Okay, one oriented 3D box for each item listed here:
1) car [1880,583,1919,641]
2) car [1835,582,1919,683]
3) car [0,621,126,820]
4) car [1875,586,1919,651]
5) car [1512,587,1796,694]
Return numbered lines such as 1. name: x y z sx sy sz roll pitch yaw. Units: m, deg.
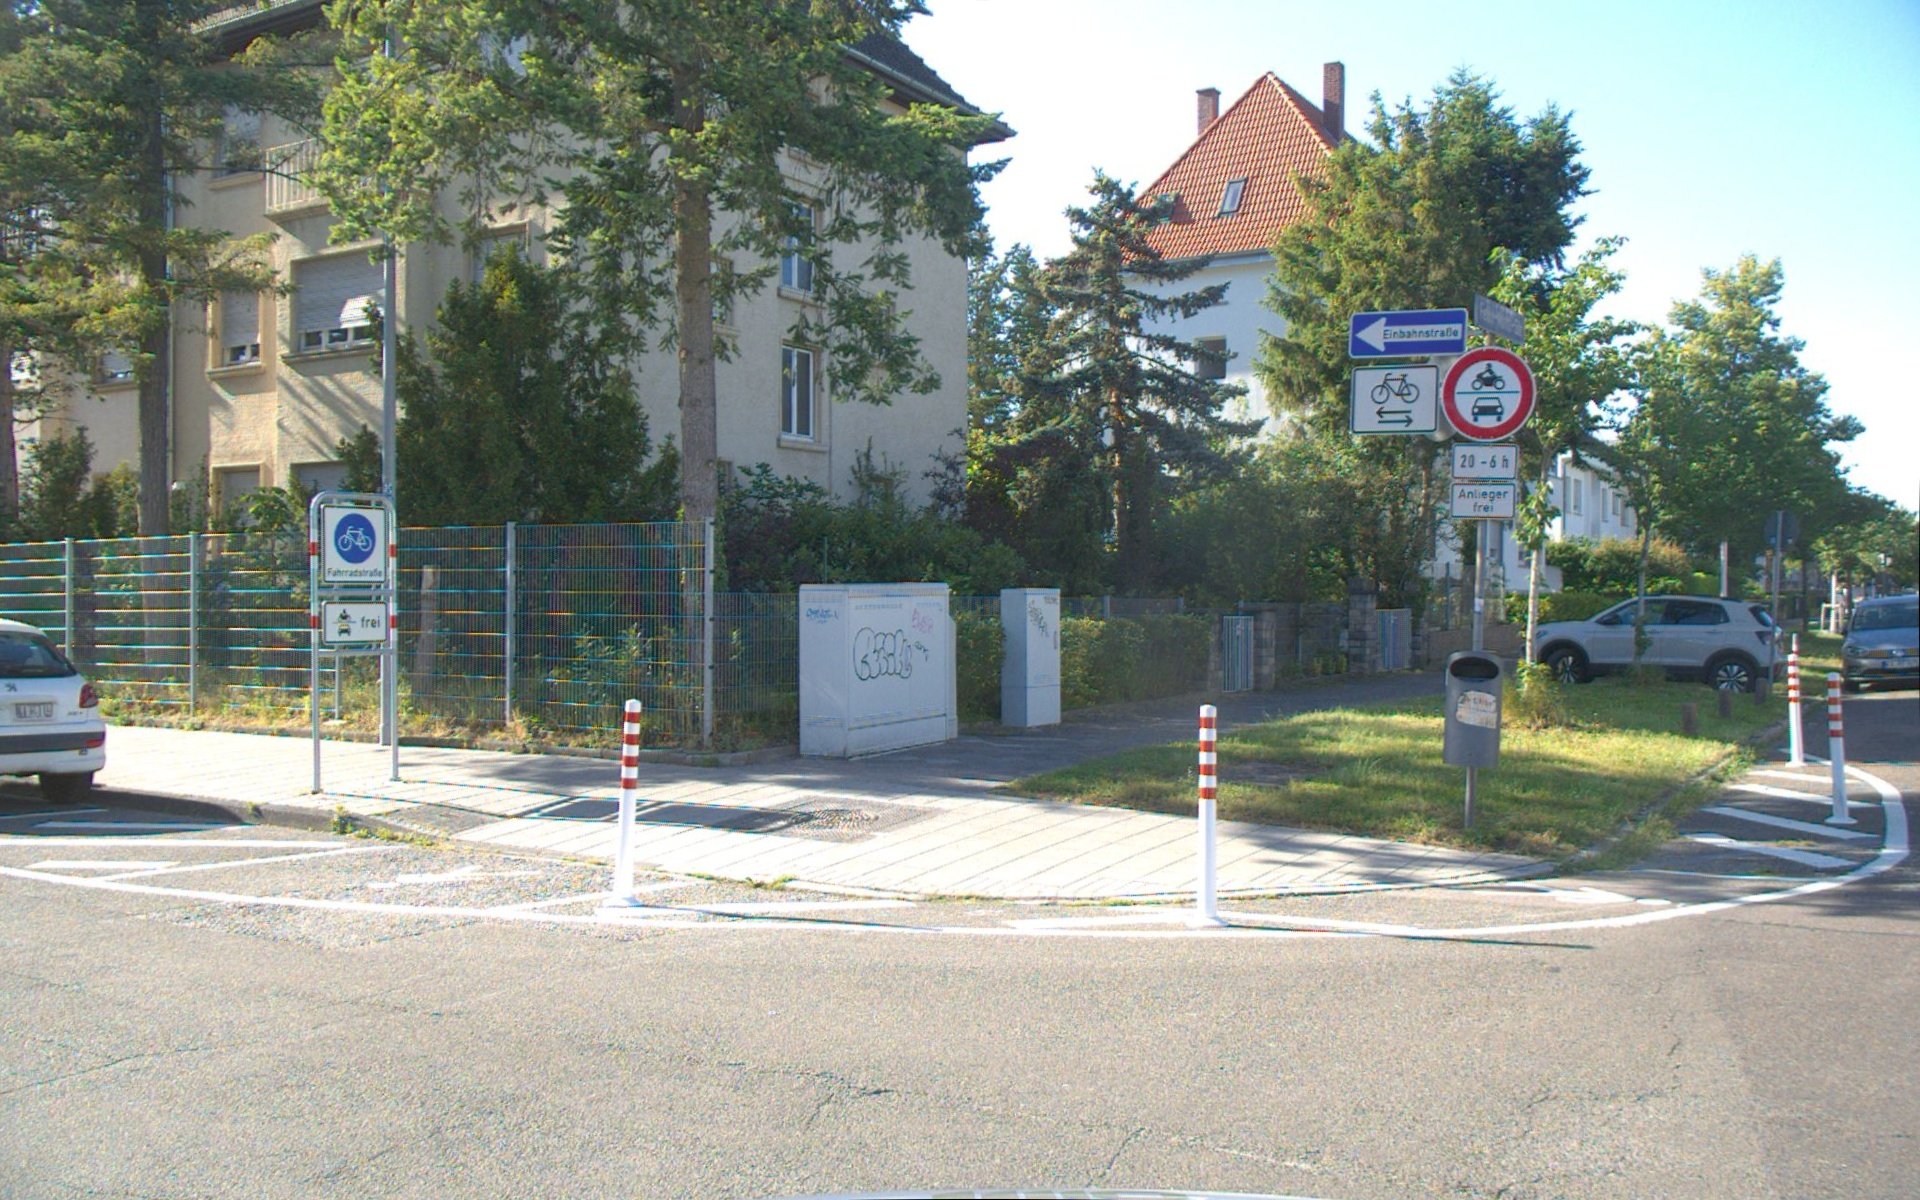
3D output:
1. car: 28.840 0.313 49.736 1.956 1.638 3.993 -4 -2 29
2. car: 16.804 0.520 29.492 1.956 1.638 3.993 -4 -2 29
3. car: -8.399 0.877 12.908 3.696 1.423 1.703 0 -1 32
4. car: 25.923 0.446 44.744 1.956 1.638 3.993 -4 -2 29
5. car: 11.314 0.607 27.003 4.113 1.591 1.839 1 0 29
